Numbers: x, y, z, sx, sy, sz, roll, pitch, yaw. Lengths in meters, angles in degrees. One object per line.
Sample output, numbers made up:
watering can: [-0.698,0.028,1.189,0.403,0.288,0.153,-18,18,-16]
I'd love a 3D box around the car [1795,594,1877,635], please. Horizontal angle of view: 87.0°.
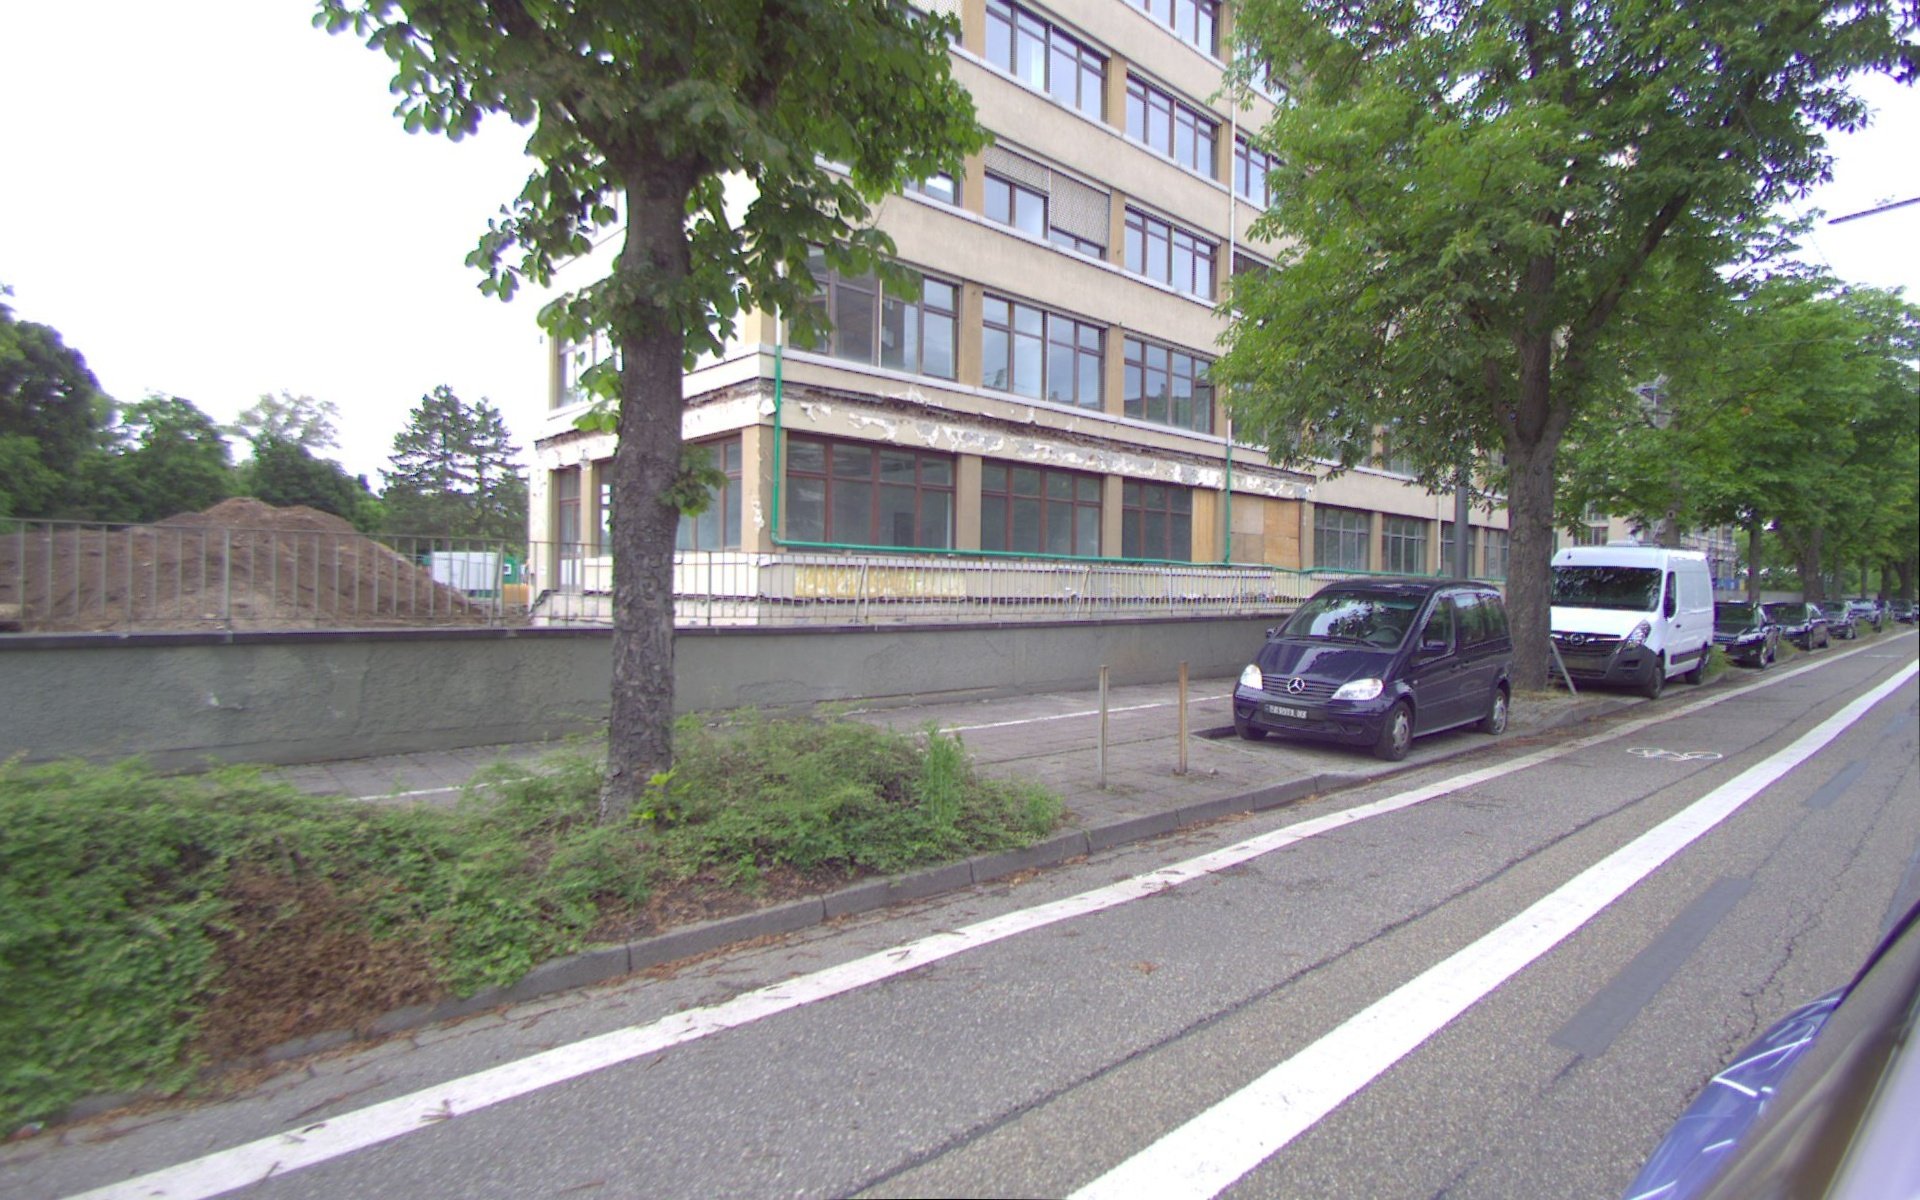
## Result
car: [33.572,0.531,38.748,4.320,1.479,1.995,0,0,-44]

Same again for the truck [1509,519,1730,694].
truck: [11.739,0.087,17.834,5.400,2.635,2.114,0,0,-44]

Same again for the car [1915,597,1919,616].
car: [74.800,0.487,77.662,4.320,1.479,1.995,0,0,-44]

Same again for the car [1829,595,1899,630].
car: [40.200,0.533,44.978,4.320,1.479,1.995,0,0,-44]

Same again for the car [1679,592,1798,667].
car: [18.583,0.614,24.082,1.821,1.518,4.042,3,3,43]

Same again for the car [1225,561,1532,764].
car: [4.732,0.533,11.164,4.017,1.835,1.655,-1,1,-44]

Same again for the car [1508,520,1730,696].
car: [11.721,0.112,17.813,5.400,2.635,2.114,0,0,-44]

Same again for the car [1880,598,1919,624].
car: [56.539,0.609,60.465,4.320,1.479,1.995,0,0,-44]

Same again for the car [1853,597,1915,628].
car: [46.004,0.575,50.355,4.320,1.479,1.995,0,0,-44]

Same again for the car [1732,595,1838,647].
car: [25.260,0.595,30.927,4.320,1.479,1.995,0,0,-44]

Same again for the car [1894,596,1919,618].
car: [64.765,0.437,68.496,4.320,1.479,1.995,0,0,-44]
